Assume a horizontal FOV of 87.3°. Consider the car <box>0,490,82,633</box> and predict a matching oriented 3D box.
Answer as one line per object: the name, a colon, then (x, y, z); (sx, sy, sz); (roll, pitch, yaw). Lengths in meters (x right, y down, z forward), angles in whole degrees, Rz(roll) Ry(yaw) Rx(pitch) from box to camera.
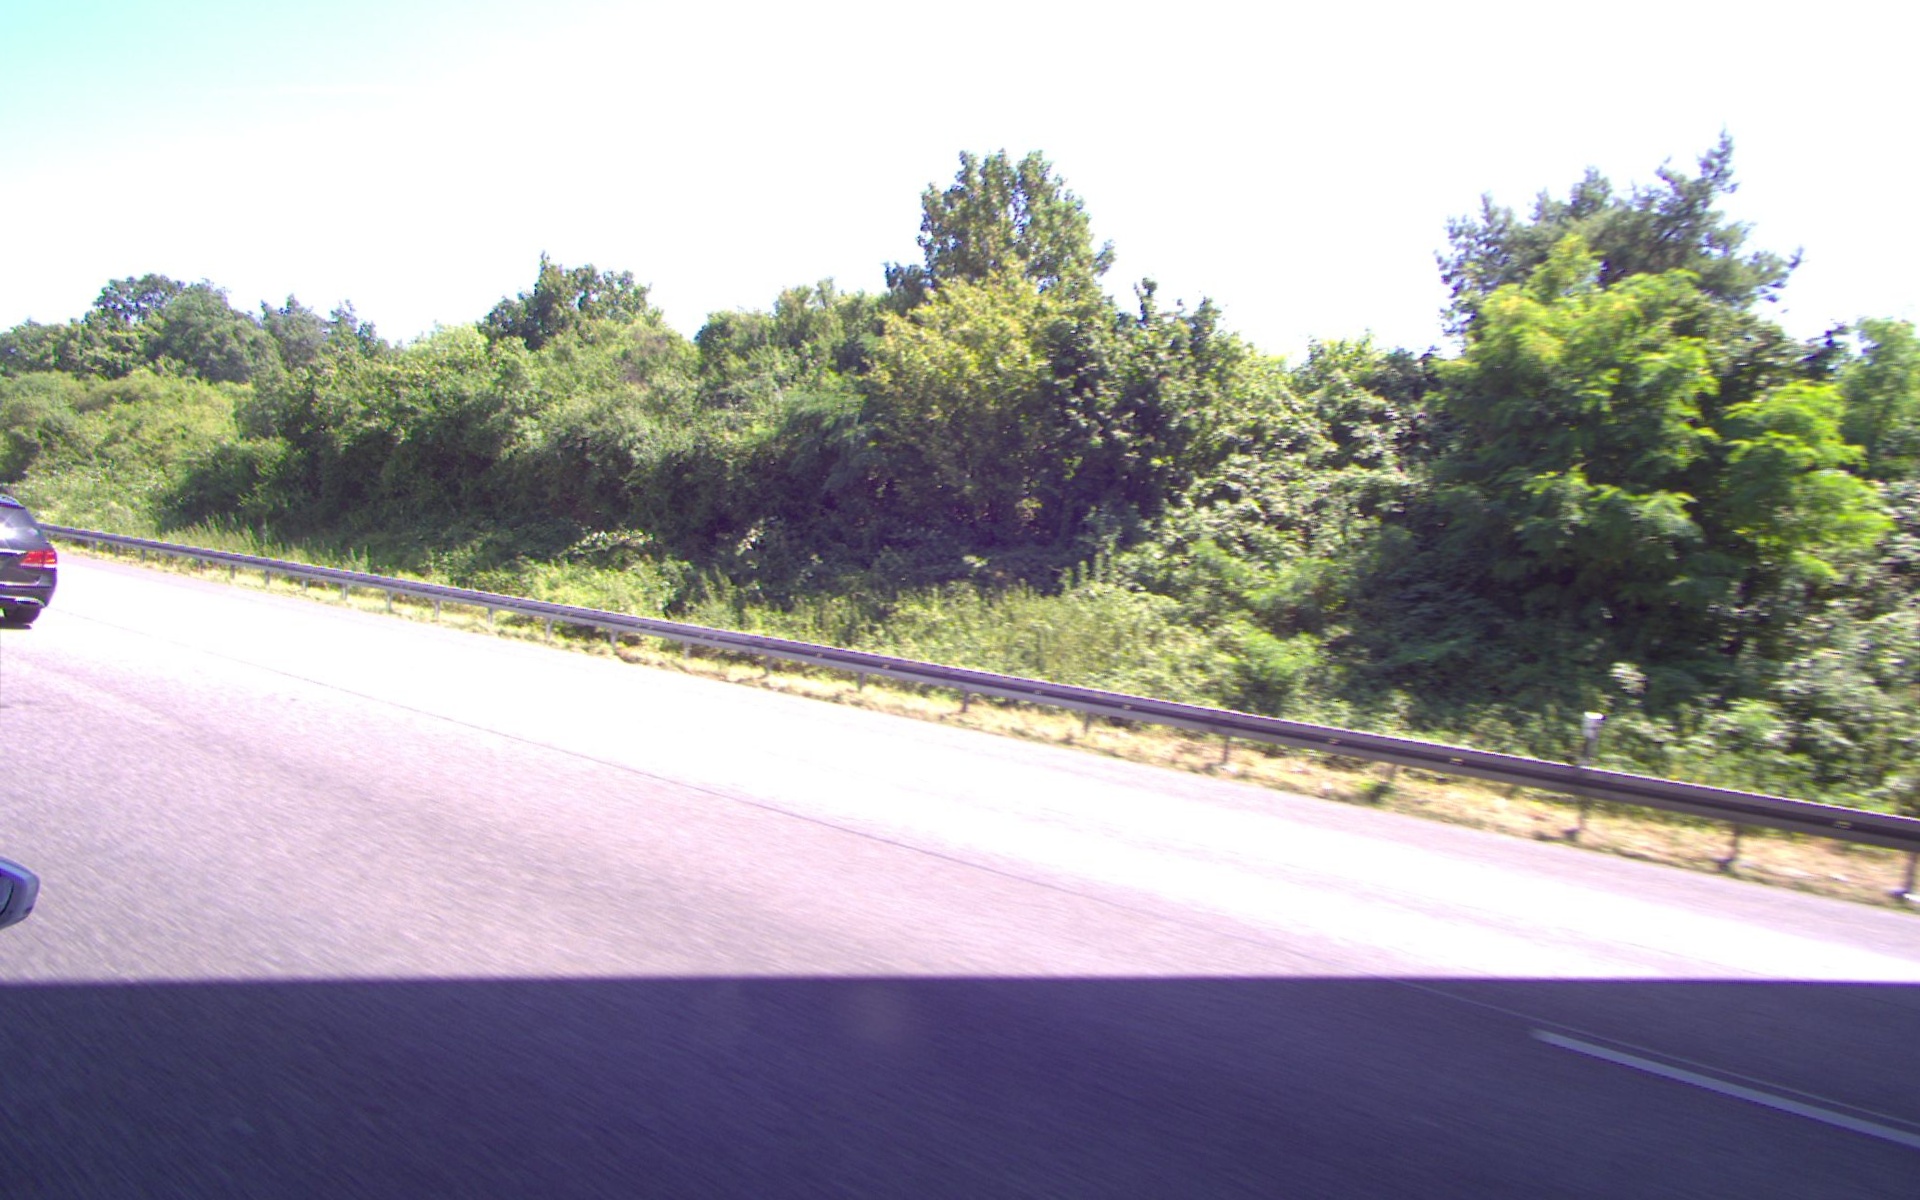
car: (-12.656, -0.695, 12.061); (4.659, 1.523, 1.844); (7, -1, 32)
